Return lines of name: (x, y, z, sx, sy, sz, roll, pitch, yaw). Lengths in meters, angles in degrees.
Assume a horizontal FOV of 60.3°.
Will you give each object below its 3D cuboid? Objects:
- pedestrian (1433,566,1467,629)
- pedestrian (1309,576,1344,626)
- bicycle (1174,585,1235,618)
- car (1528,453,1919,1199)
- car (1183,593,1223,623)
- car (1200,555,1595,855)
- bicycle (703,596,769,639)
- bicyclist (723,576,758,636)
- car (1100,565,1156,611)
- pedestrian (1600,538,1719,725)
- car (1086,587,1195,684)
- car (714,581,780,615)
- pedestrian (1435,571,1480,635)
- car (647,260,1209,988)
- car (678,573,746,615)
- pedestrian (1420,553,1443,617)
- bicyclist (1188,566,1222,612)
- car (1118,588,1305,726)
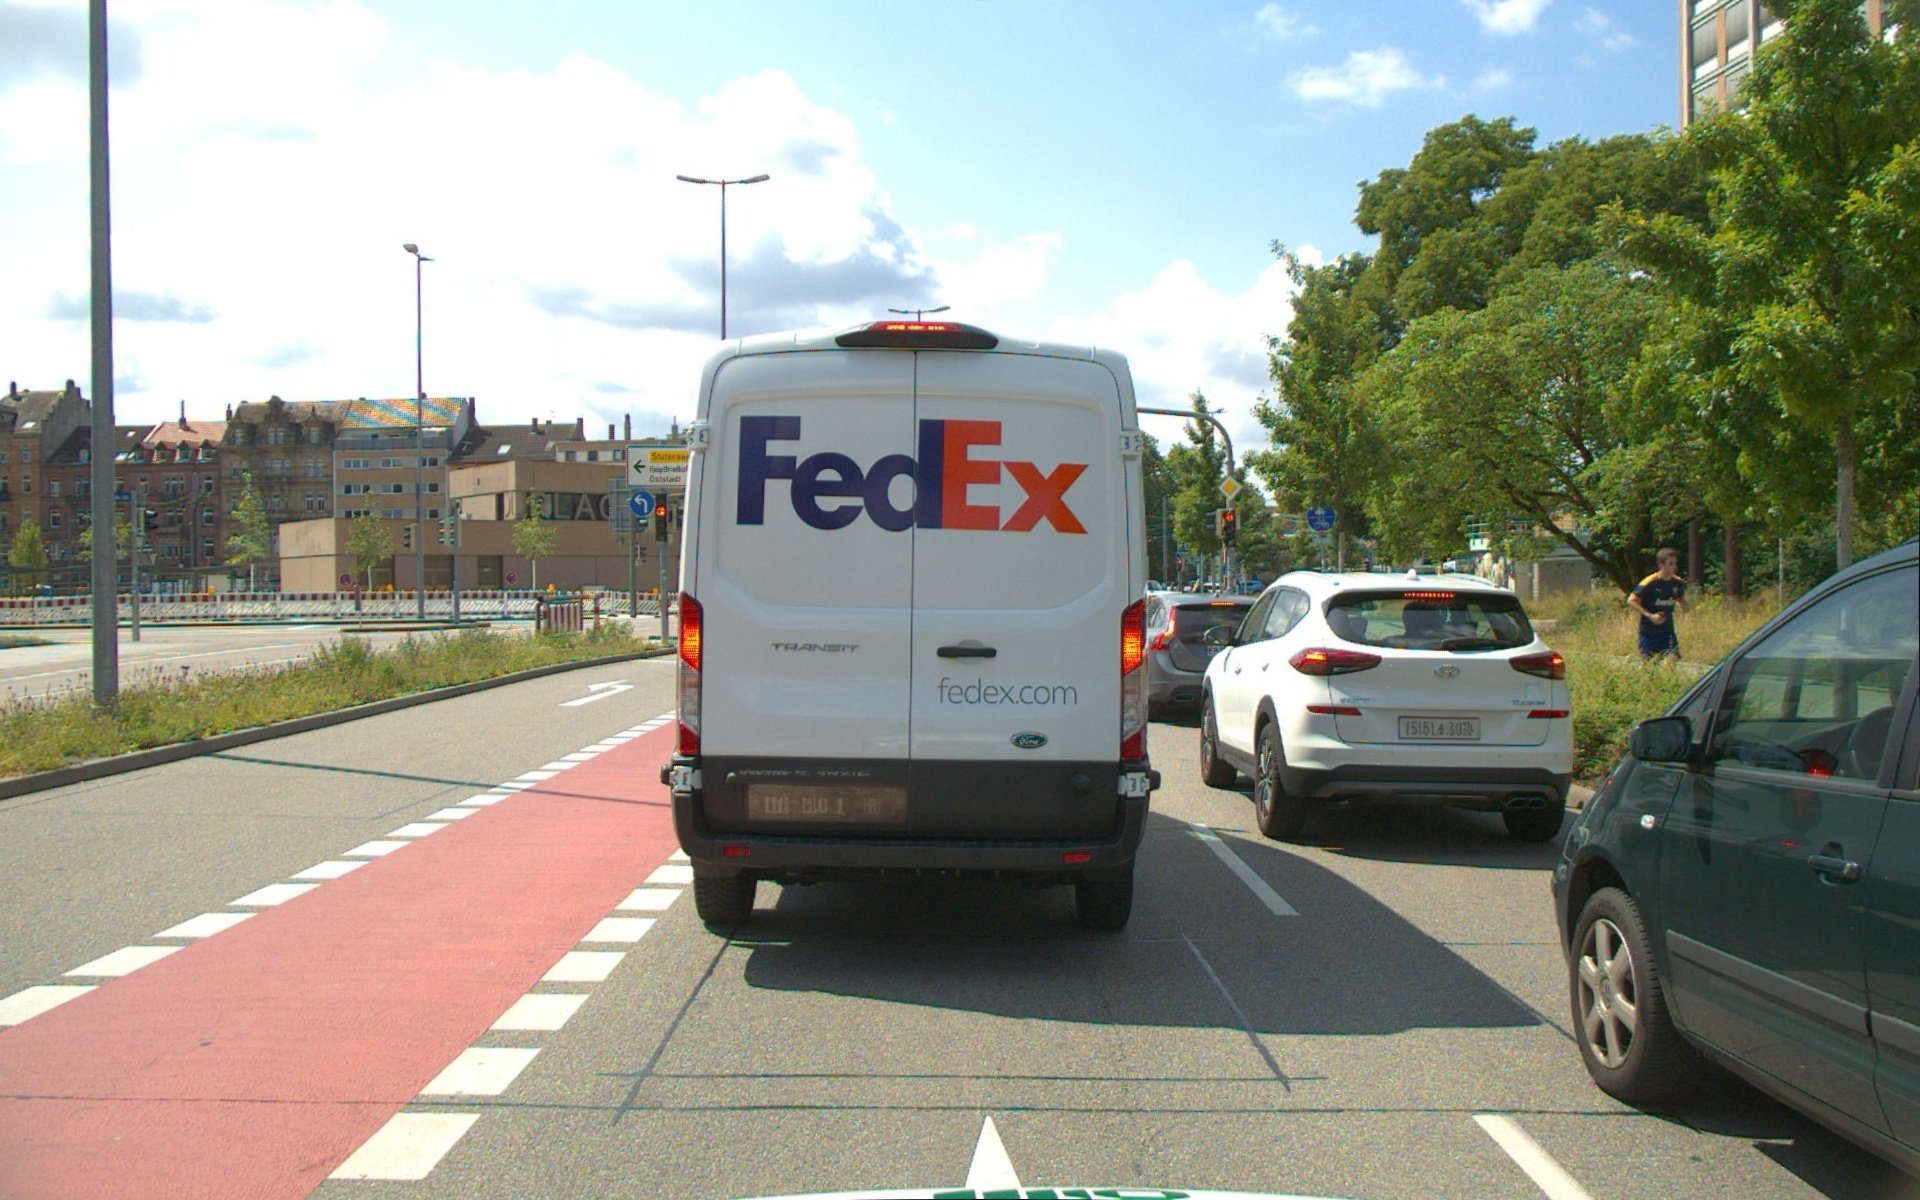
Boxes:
pedestrian: (16.223, -0.089, 54.743, 0.837, 2.049, 0.732, -1, 1, -33)
pedestrian: (10.553, 0.023, 47.604, 0.827, 1.413, 0.741, 0, 0, -1)
bicycle: (7.937, 0.051, 53.737, 1.888, 1.048, 0.546, 0, 1, -14)
car: (2.861, 0.586, 3.451, 1.775, 1.764, 4.388, 0, 1, -1)
car: (14.941, 0.485, 101.628, 1.951, 1.825, 4.375, -1, 0, 15)
car: (2.801, 0.579, 11.499, 1.760, 1.717, 4.001, 0, 1, 1)
bicycle: (-7.075, 0.544, 52.255, 2.025, 1.312, 0.603, -1, 0, -8)
bicyclist: (-6.935, 0.176, 52.268, 1.098, 1.877, 0.592, -1, 1, -8)
car: (7.883, -0.530, 77.216, 2.048, 2.049, 4.648, -1, 0, 13)
pedestrian: (7.407, 0.322, 17.550, 0.931, 1.925, 0.773, 0, 0, -1)
car: (2.881, 0.531, 26.935, 1.454, 1.453, 3.433, 0, 1, 1)
car: (-10.346, -0.099, 80.515, 1.860, 1.613, 4.003, -1, 0, 13)
pedestrian: (12.241, 0.071, 40.710, 0.827, 1.565, 0.835, 0, 1, -1)
car: (-0.246, 0.076, 9.039, 2.098, 2.699, 5.701, 0, 0, -3)
car: (-12.269, -0.285, 82.036, 1.951, 2.049, 4.003, -1, 0, 14)
pedestrian: (15.387, -0.490, 53.971, 0.723, 2.094, 0.848, 0, 0, 16)
bicyclist: (7.950, -0.363, 53.729, 0.952, 1.500, 0.549, -1, 0, -16)
car: (2.955, 0.613, 20.154, 1.760, 1.486, 3.839, 0, 1, 1)
